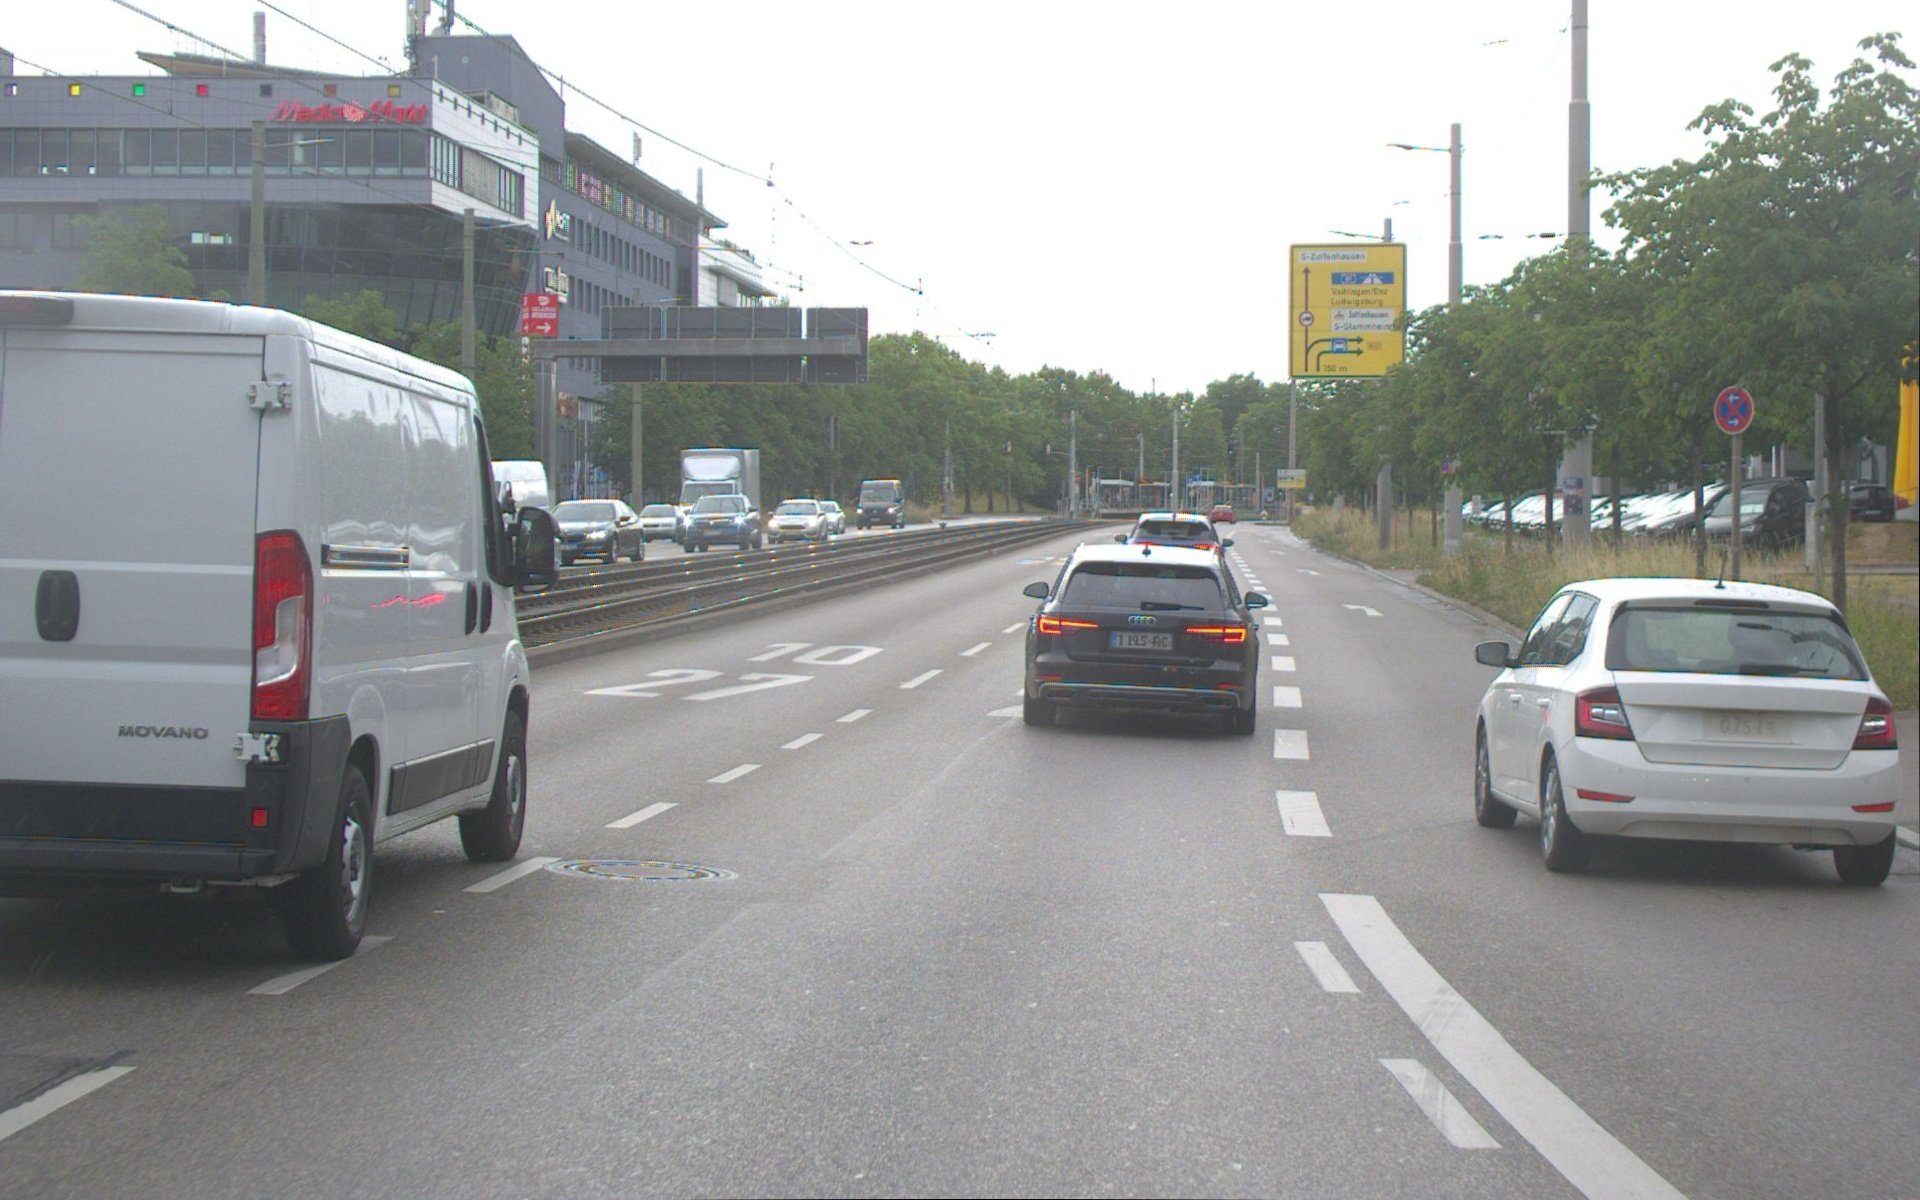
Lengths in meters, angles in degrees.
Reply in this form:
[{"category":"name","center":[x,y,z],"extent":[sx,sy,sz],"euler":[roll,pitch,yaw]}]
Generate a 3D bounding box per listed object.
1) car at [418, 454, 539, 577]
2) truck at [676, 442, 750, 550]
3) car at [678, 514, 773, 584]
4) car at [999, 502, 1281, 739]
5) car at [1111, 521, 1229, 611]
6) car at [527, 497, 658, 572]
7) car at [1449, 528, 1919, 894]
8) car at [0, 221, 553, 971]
[{"category":"car","center":[-11.334,-2.013,81.259],"extent":[2.158,2.713,5.068],"euler":[3,2,-2]},{"category":"truck","center":[-8.705,-3.677,121.623],"extent":[2.158,3.633,6.875],"euler":[3,2,-2]},{"category":"car","center":[-6.711,-1.493,98.868],"extent":[2.159,1.879,4.301],"euler":[3,2,3]},{"category":"car","center":[1.380,0.103,27.472],"extent":[1.993,1.631,4.000],"euler":[4,1,1]},{"category":"car","center":[3.616,-0.594,58.701],"extent":[1.894,1.460,3.909],"euler":[1,1,5]},{"category":"car","center":[-8.294,-1.497,77.925],"extent":[1.801,1.615,4.954],"euler":[1,1,8]},{"category":"car","center":[3.740,0.481,17.968],"extent":[1.829,1.650,4.000],"euler":[2,1,1]},{"category":"car","center":[-3.135,-0.097,13.072],"extent":[2.445,2.286,4.905],"euler":[2,2,1]}]
